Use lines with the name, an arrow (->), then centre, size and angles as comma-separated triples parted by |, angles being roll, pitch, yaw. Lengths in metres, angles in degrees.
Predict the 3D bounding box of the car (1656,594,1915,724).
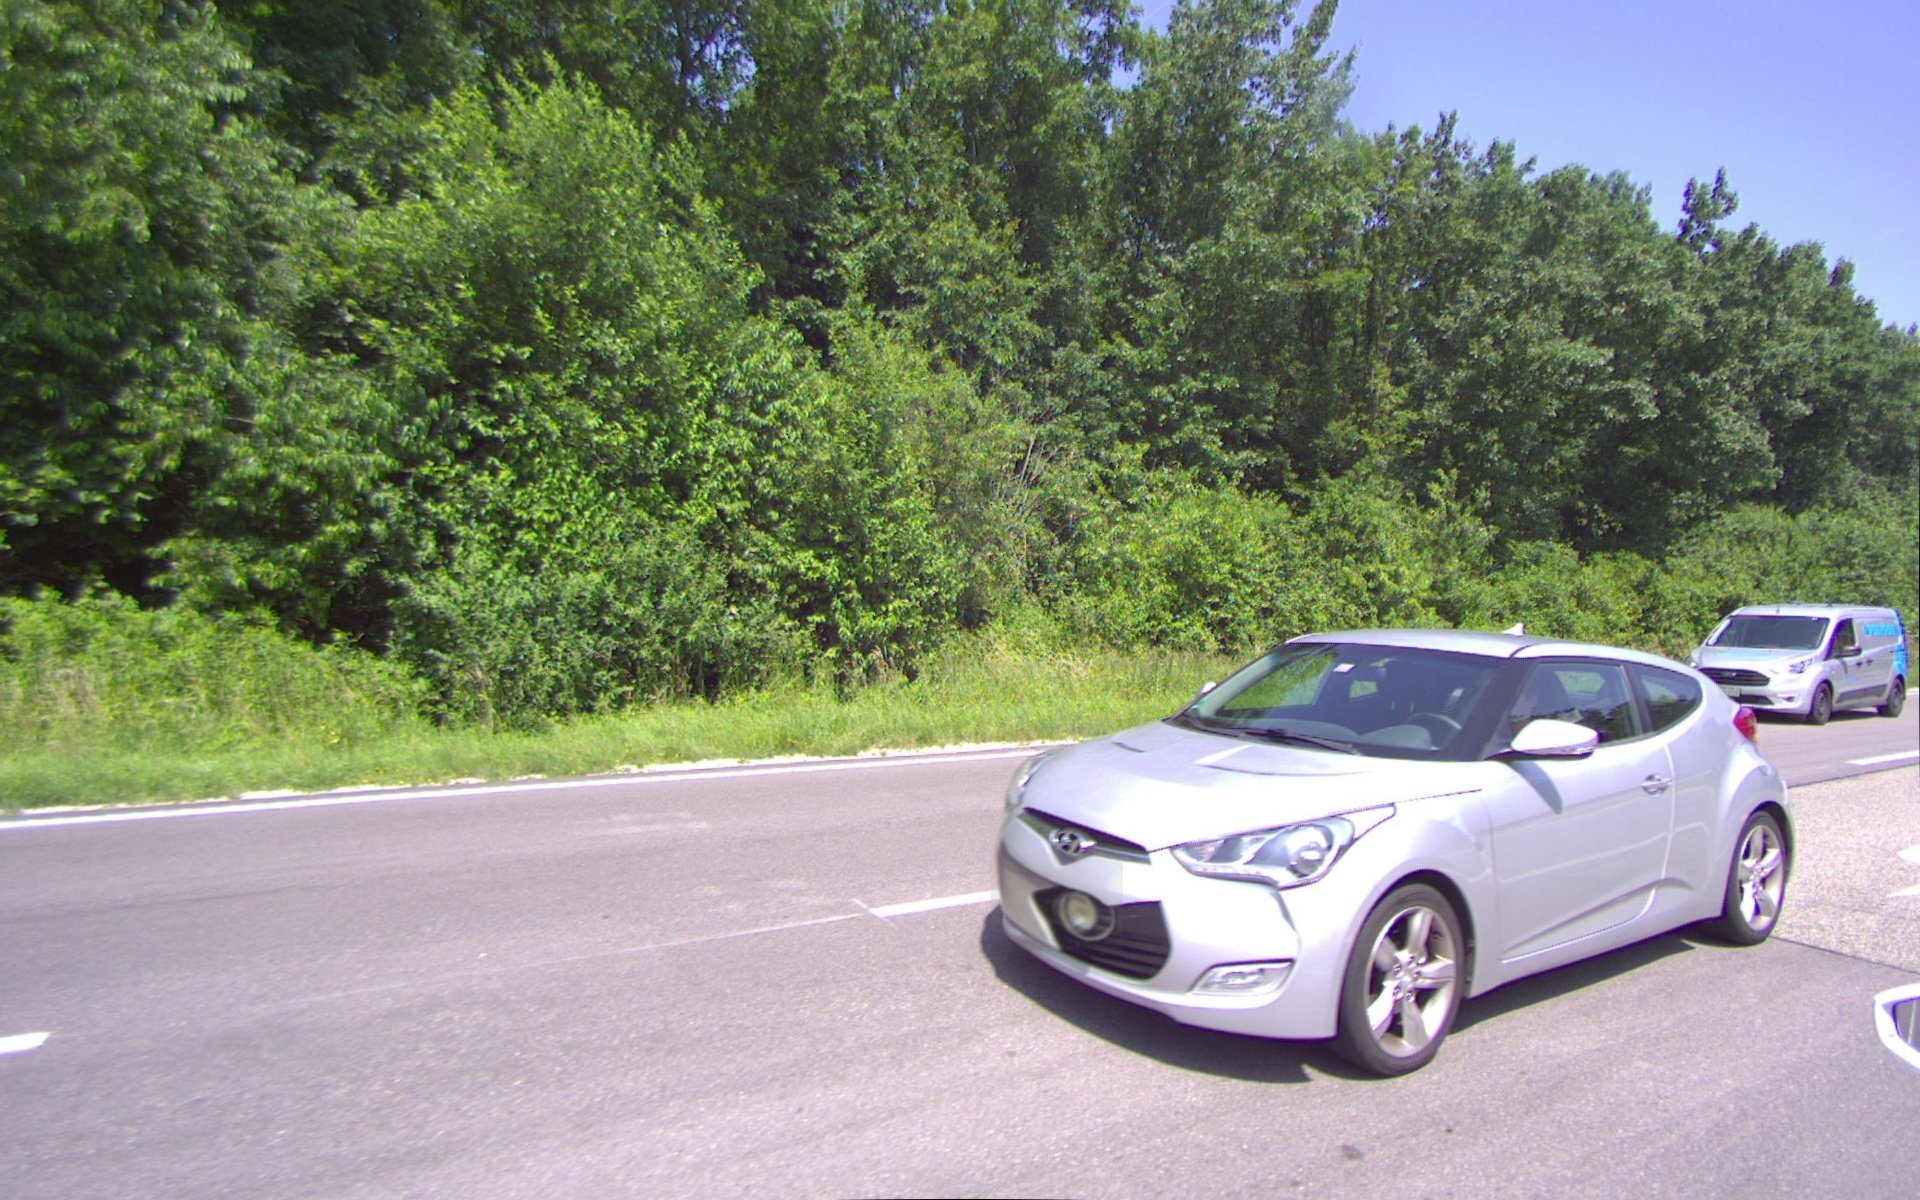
car -> 13.415, 0.867, 16.241 | 4.840, 1.803, 1.832 | 1, 1, -33

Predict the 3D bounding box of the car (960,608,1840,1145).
car -> 2.156, 0.775, 4.572 | 4.053, 1.438, 1.699 | 0, 1, -32
